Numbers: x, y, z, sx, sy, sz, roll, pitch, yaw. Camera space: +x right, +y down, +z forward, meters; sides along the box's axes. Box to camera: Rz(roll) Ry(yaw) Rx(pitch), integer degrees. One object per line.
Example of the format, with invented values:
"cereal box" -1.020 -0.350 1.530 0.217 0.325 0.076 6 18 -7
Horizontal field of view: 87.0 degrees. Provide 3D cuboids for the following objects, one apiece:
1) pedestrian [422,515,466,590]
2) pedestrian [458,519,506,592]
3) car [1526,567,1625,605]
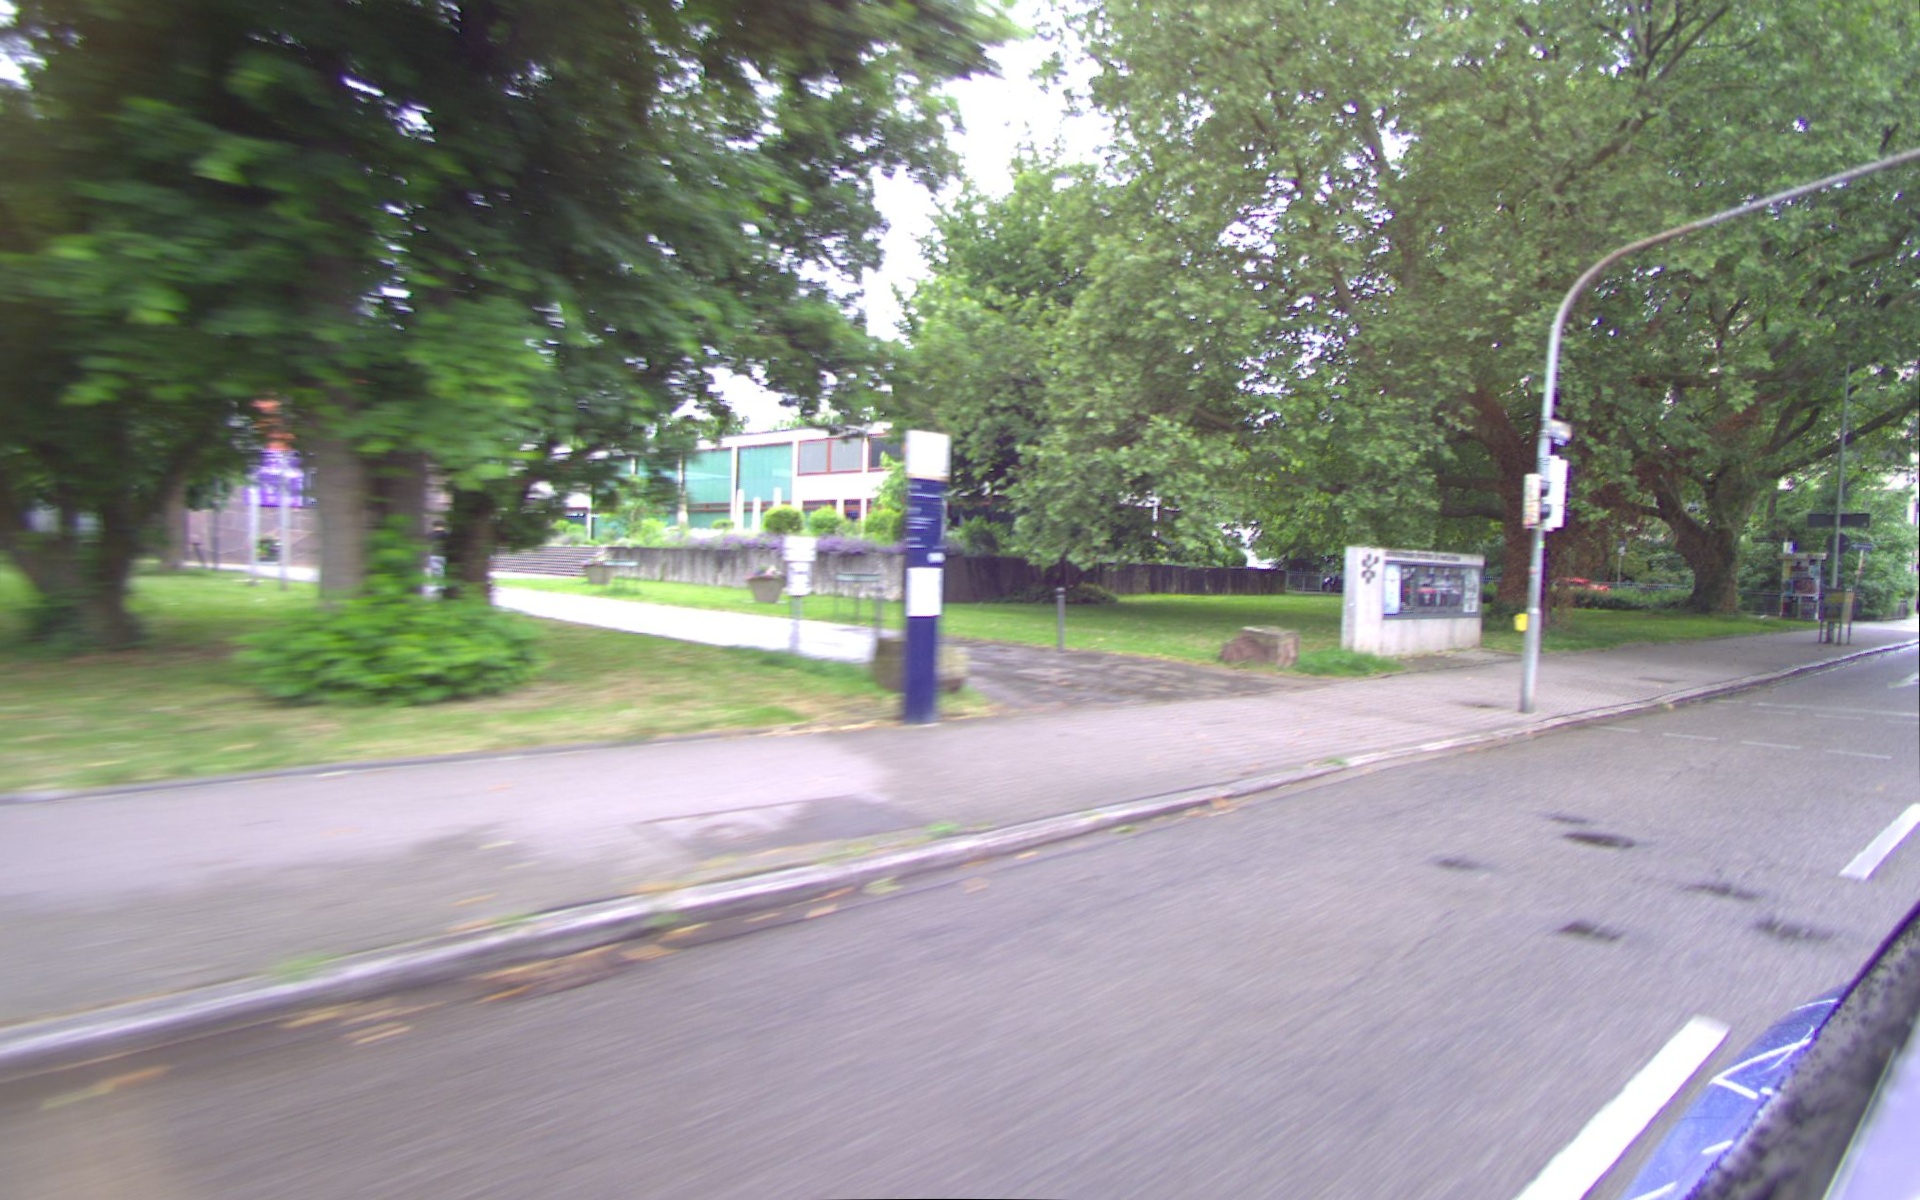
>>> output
"pedestrian" -12.677 -1.146 24.861 0.838 1.785 0.760 0 0 44
"pedestrian" -12.016 -1.108 25.454 0.838 1.785 0.865 0 0 44
"car" 32.174 -0.761 52.961 1.966 1.737 3.993 0 3 -43
